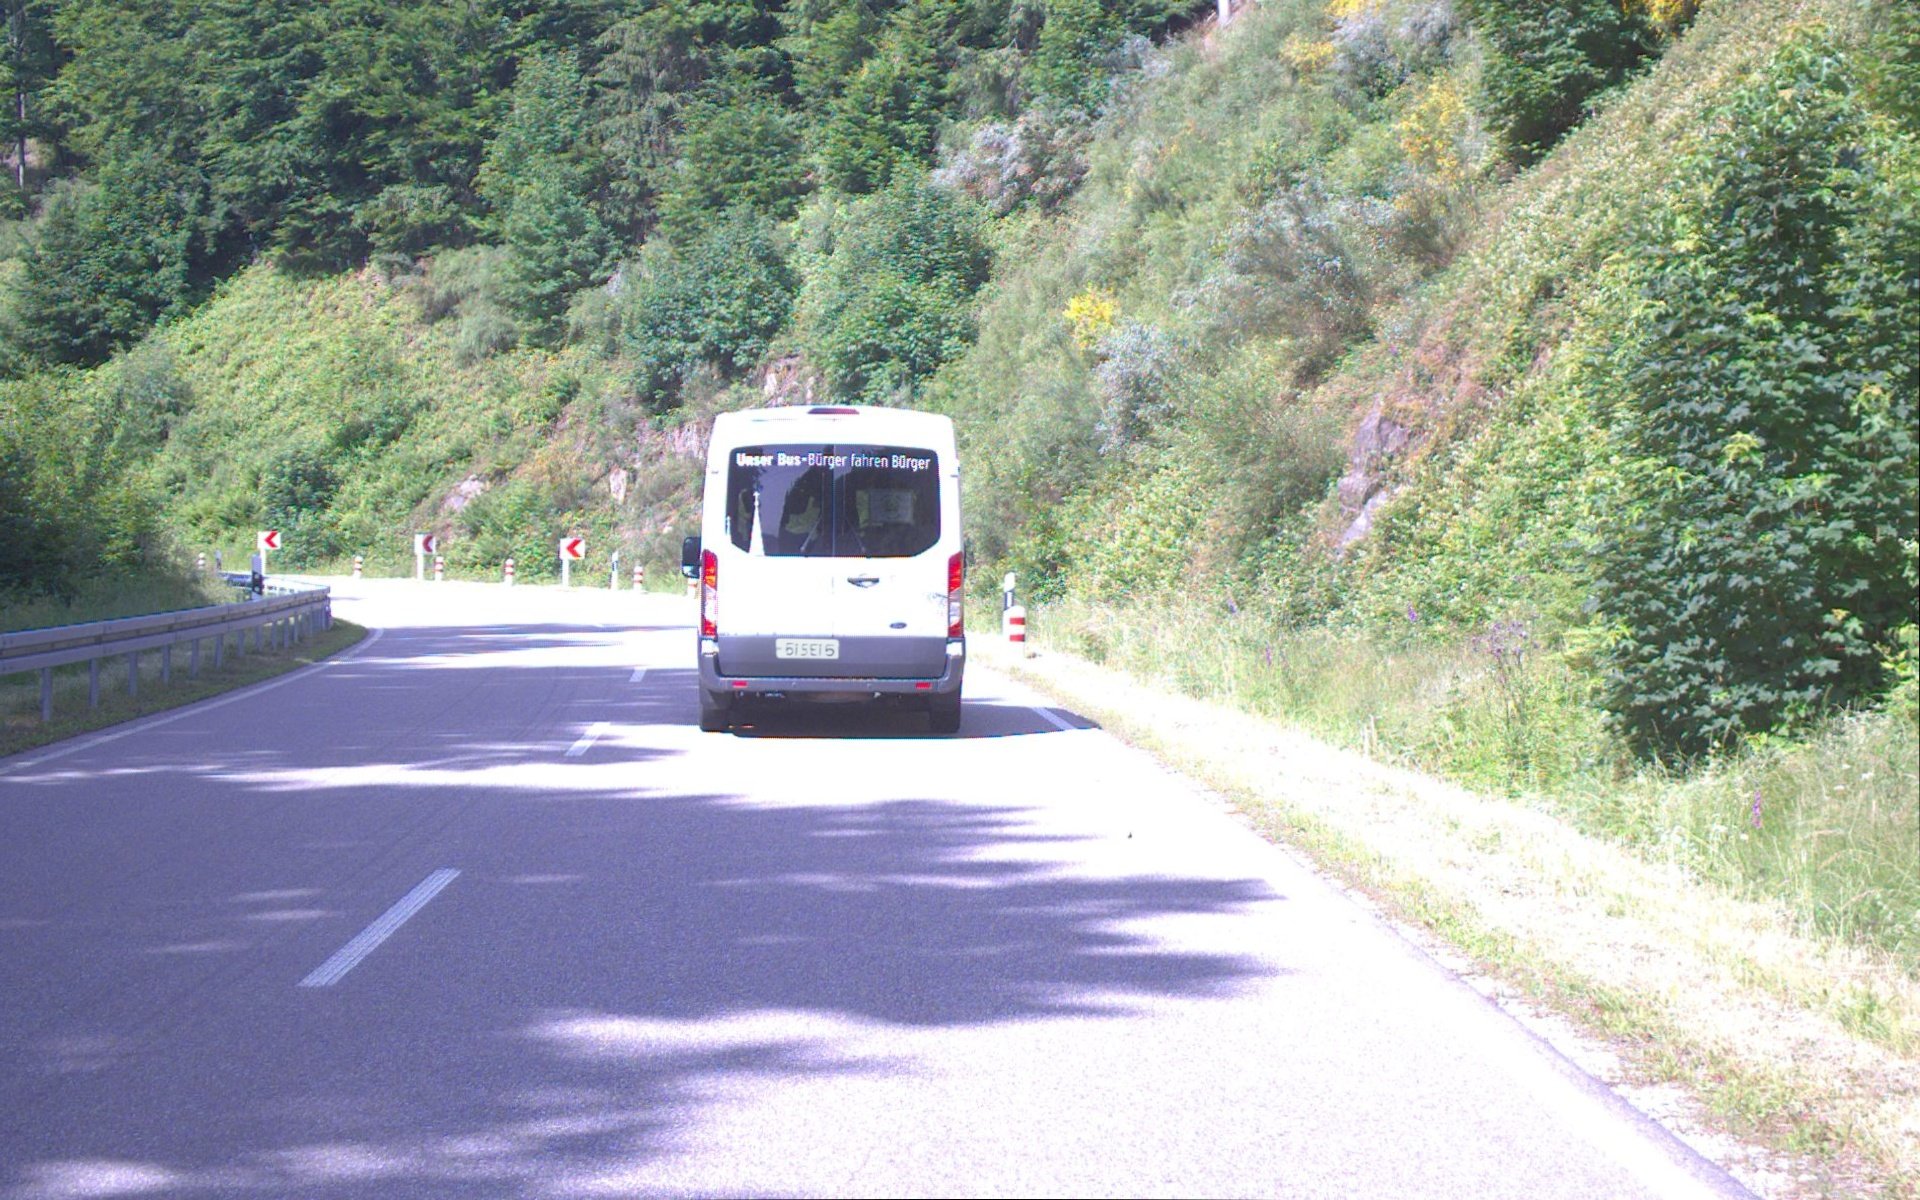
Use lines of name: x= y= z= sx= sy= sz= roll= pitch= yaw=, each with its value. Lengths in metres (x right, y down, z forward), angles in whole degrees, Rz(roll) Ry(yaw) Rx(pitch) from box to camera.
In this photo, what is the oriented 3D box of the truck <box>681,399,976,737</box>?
truck: x=-1.152 y=-0.282 z=27.488 sx=2.083 sy=2.451 sz=4.876 roll=0 pitch=1 yaw=-5
